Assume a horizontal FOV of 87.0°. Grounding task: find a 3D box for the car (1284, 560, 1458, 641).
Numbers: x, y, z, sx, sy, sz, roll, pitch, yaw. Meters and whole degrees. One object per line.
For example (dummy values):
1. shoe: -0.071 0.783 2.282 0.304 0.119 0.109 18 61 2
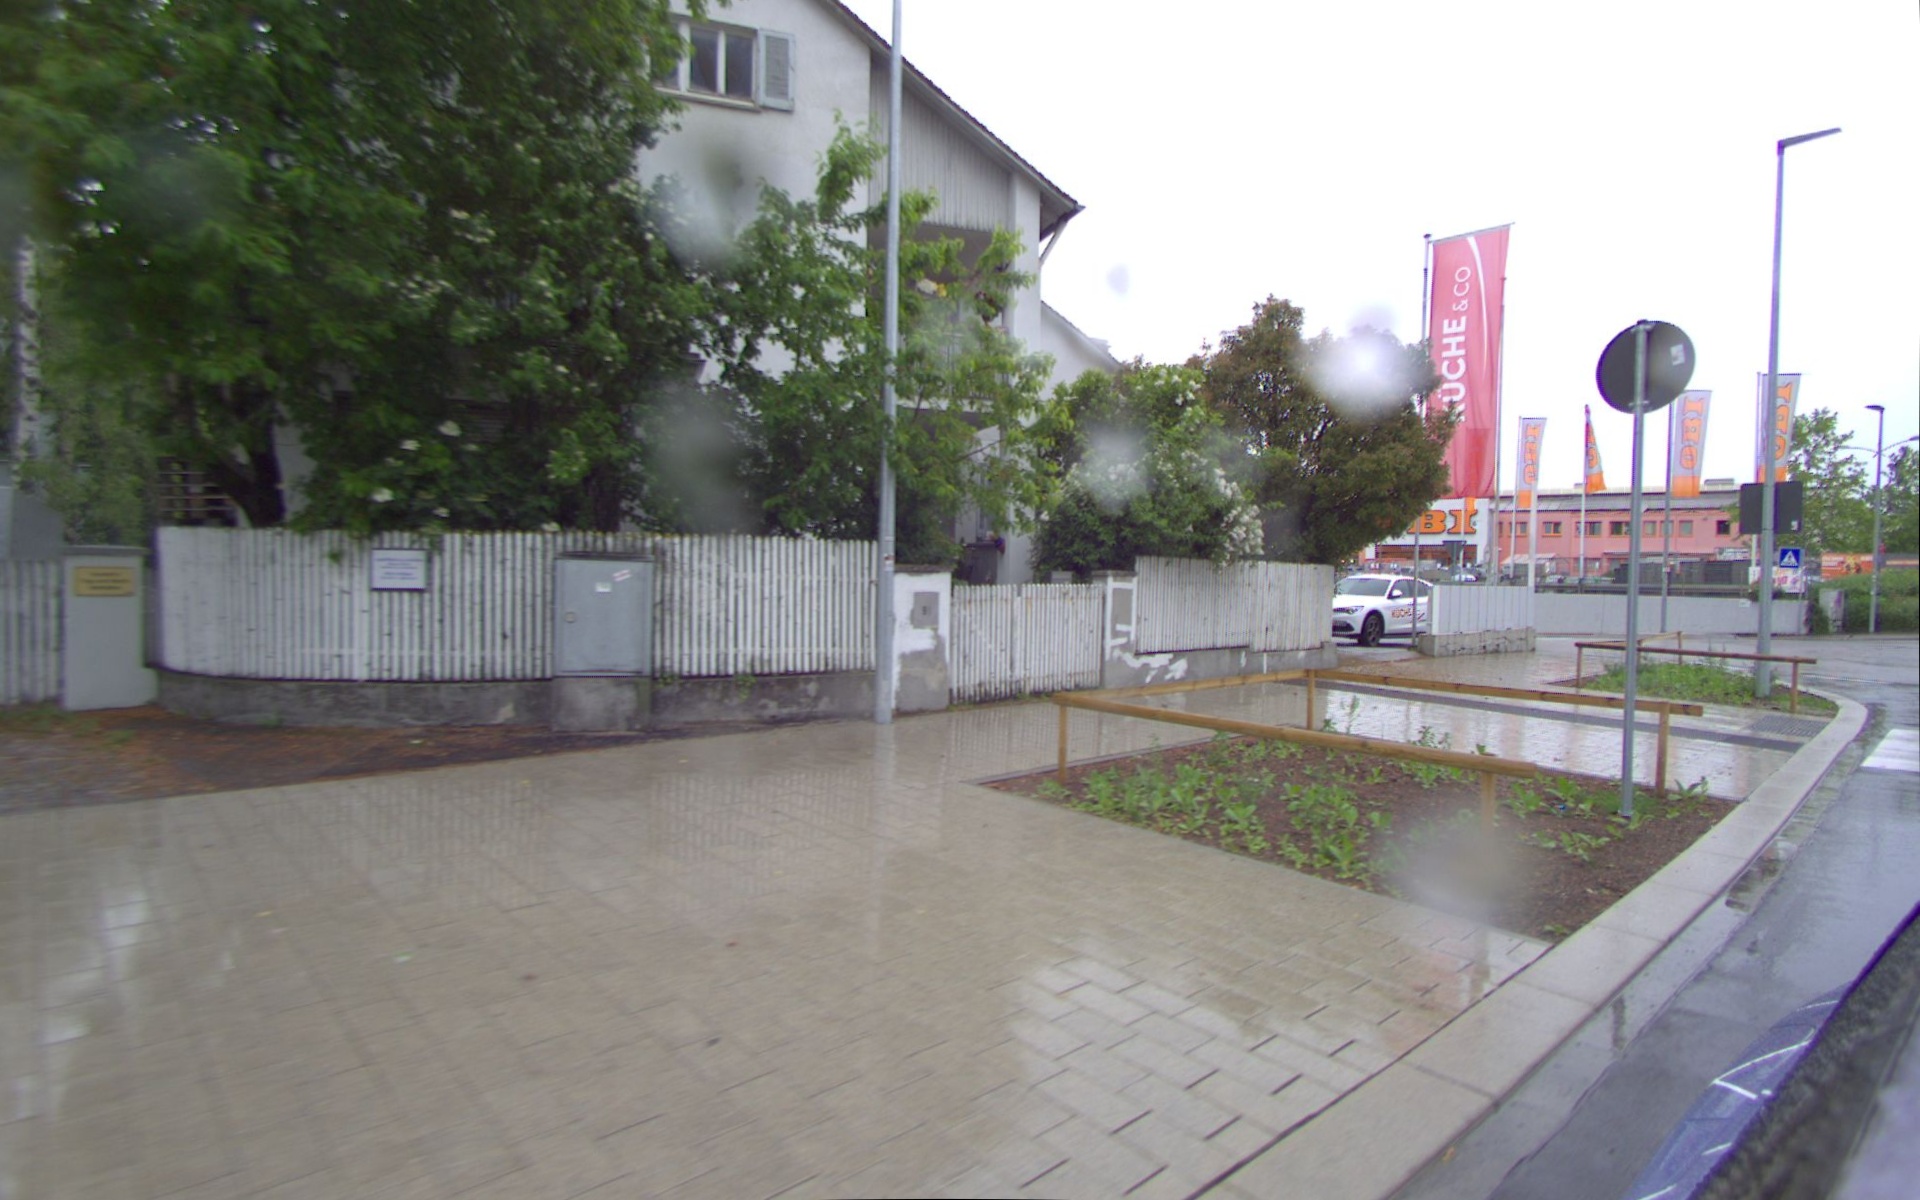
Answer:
1. car: 9.597 0.008 23.538 4.092 1.712 1.847 1 1 -36
